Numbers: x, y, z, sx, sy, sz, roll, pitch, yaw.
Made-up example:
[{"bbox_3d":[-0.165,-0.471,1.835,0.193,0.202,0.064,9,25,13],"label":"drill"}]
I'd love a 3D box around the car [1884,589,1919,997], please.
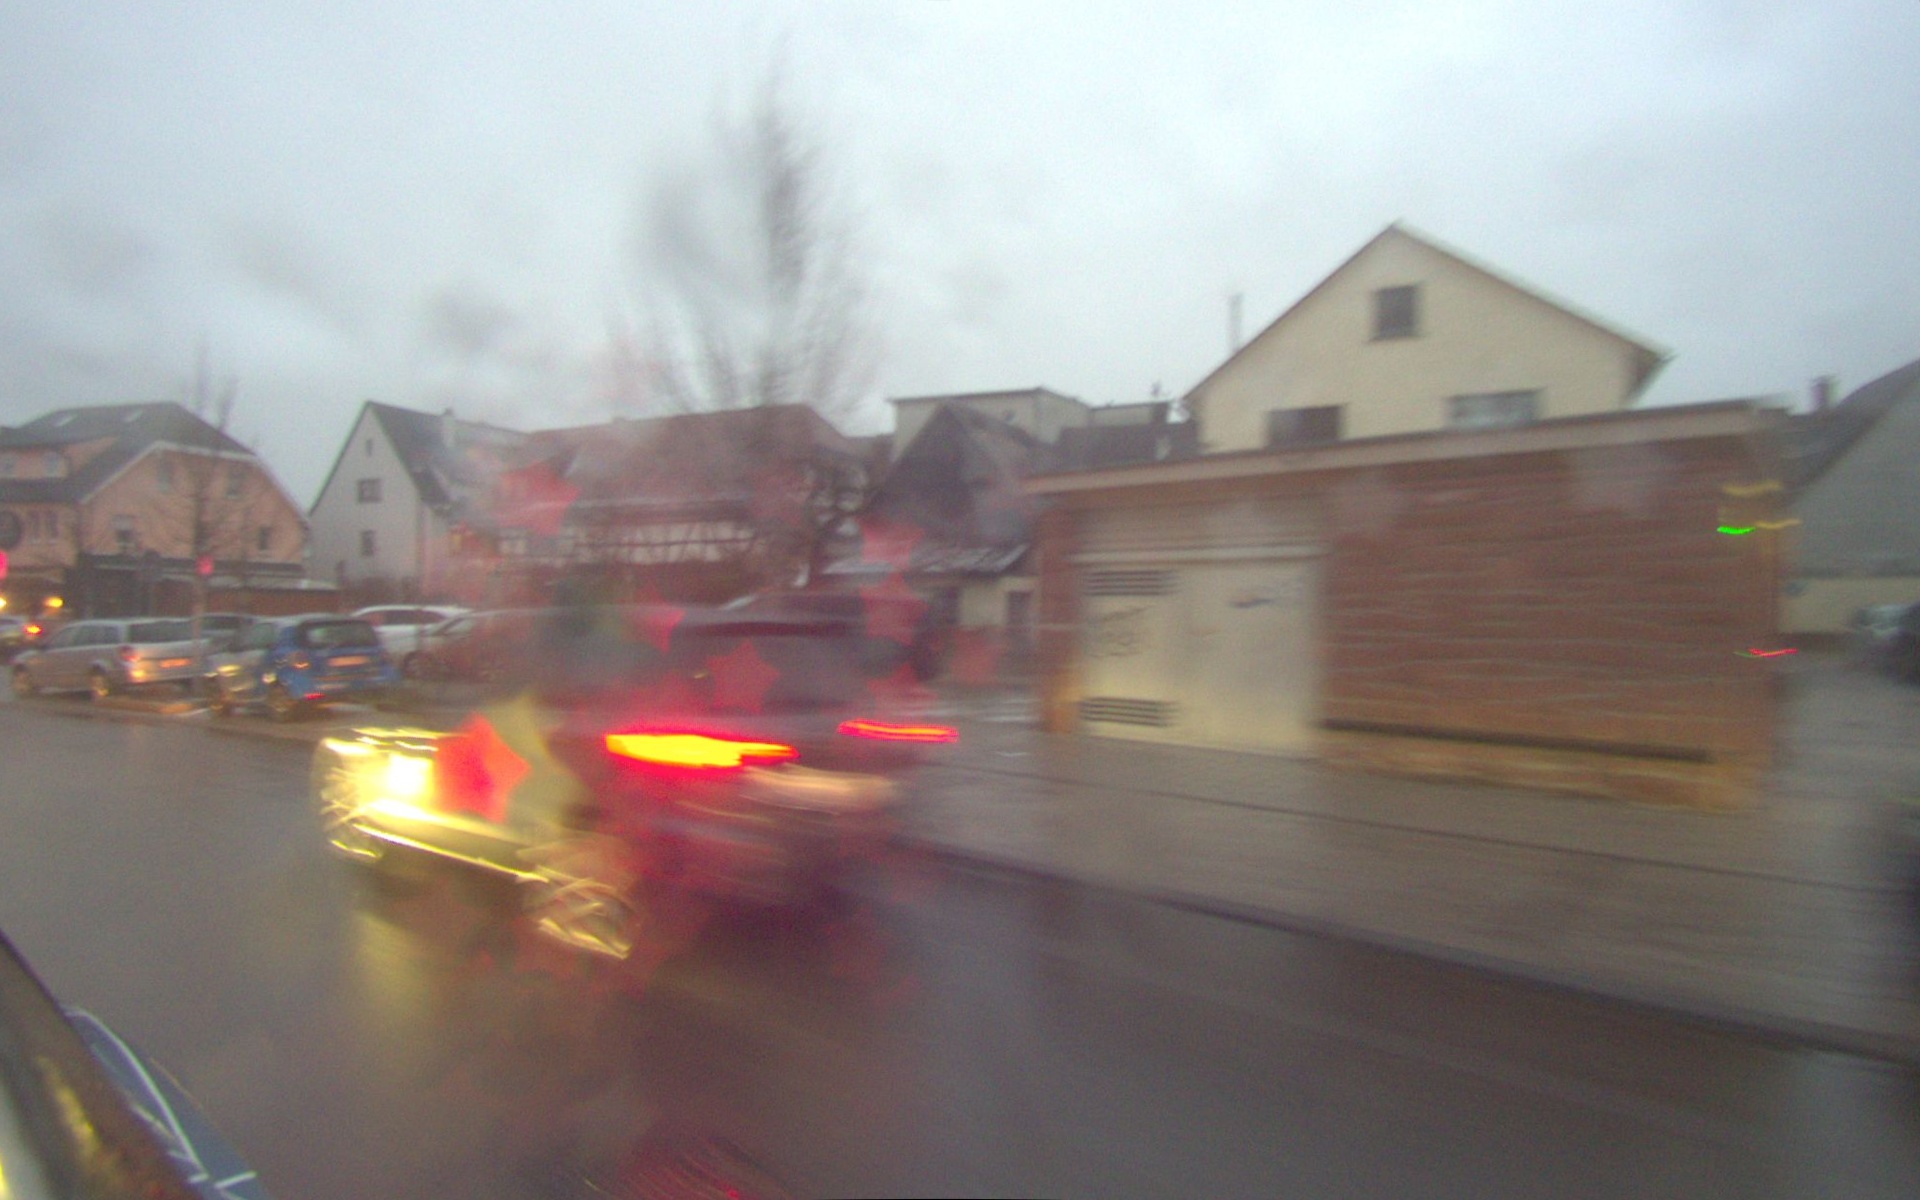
[{"bbox_3d":[5.601,0.665,2.742,1.726,1.483,4.462,-1,0,-44],"label":"car"}]

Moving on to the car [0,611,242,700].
[{"bbox_3d":[-16.078,1.017,19.300,4.225,1.545,1.897,-1,-1,21],"label":"car"}]

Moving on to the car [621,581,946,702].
[{"bbox_3d":[-3.085,0.740,18.015,5.304,1.900,2.080,1,-3,-27],"label":"car"}]

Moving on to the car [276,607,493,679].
[{"bbox_3d":[-14.399,1.030,25.424,4.578,1.666,1.993,1,-1,-34],"label":"car"}]

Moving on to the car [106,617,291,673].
[{"bbox_3d":[-21.171,1.200,28.238,4.009,1.470,1.761,1,-1,-39],"label":"car"}]

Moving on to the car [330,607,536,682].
[{"bbox_3d":[-12.151,1.010,23.414,4.044,1.594,1.725,2,-2,-34],"label":"car"}]

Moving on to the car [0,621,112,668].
[{"bbox_3d":[-34.564,1.661,37.232,1.989,1.648,4.727,-2,-4,26],"label":"car"}]

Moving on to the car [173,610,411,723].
[{"bbox_3d":[-10.432,0.946,15.751,3.665,1.547,1.818,-1,-1,34],"label":"car"}]

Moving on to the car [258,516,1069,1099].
[{"bbox_3d":[-1.945,0.737,5.644,4.740,1.875,2.119,-2,-3,41],"label":"car"}]

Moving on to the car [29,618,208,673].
[{"bbox_3d":[-24.274,1.298,29.367,3.870,1.470,1.766,1,-3,-38],"label":"car"}]

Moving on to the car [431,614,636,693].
[{"bbox_3d":[-9.344,1.104,22.202,3.931,1.541,2.006,0,-1,-30],"label":"car"}]

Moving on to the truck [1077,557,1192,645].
[{"bbox_3d":[6.545,0.024,37.279,2.769,2.974,5.811,-1,0,25],"label":"truck"}]

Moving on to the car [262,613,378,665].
[{"bbox_3d":[-22.722,1.340,35.925,3.980,1.741,1.705,-1,0,27],"label":"car"}]
